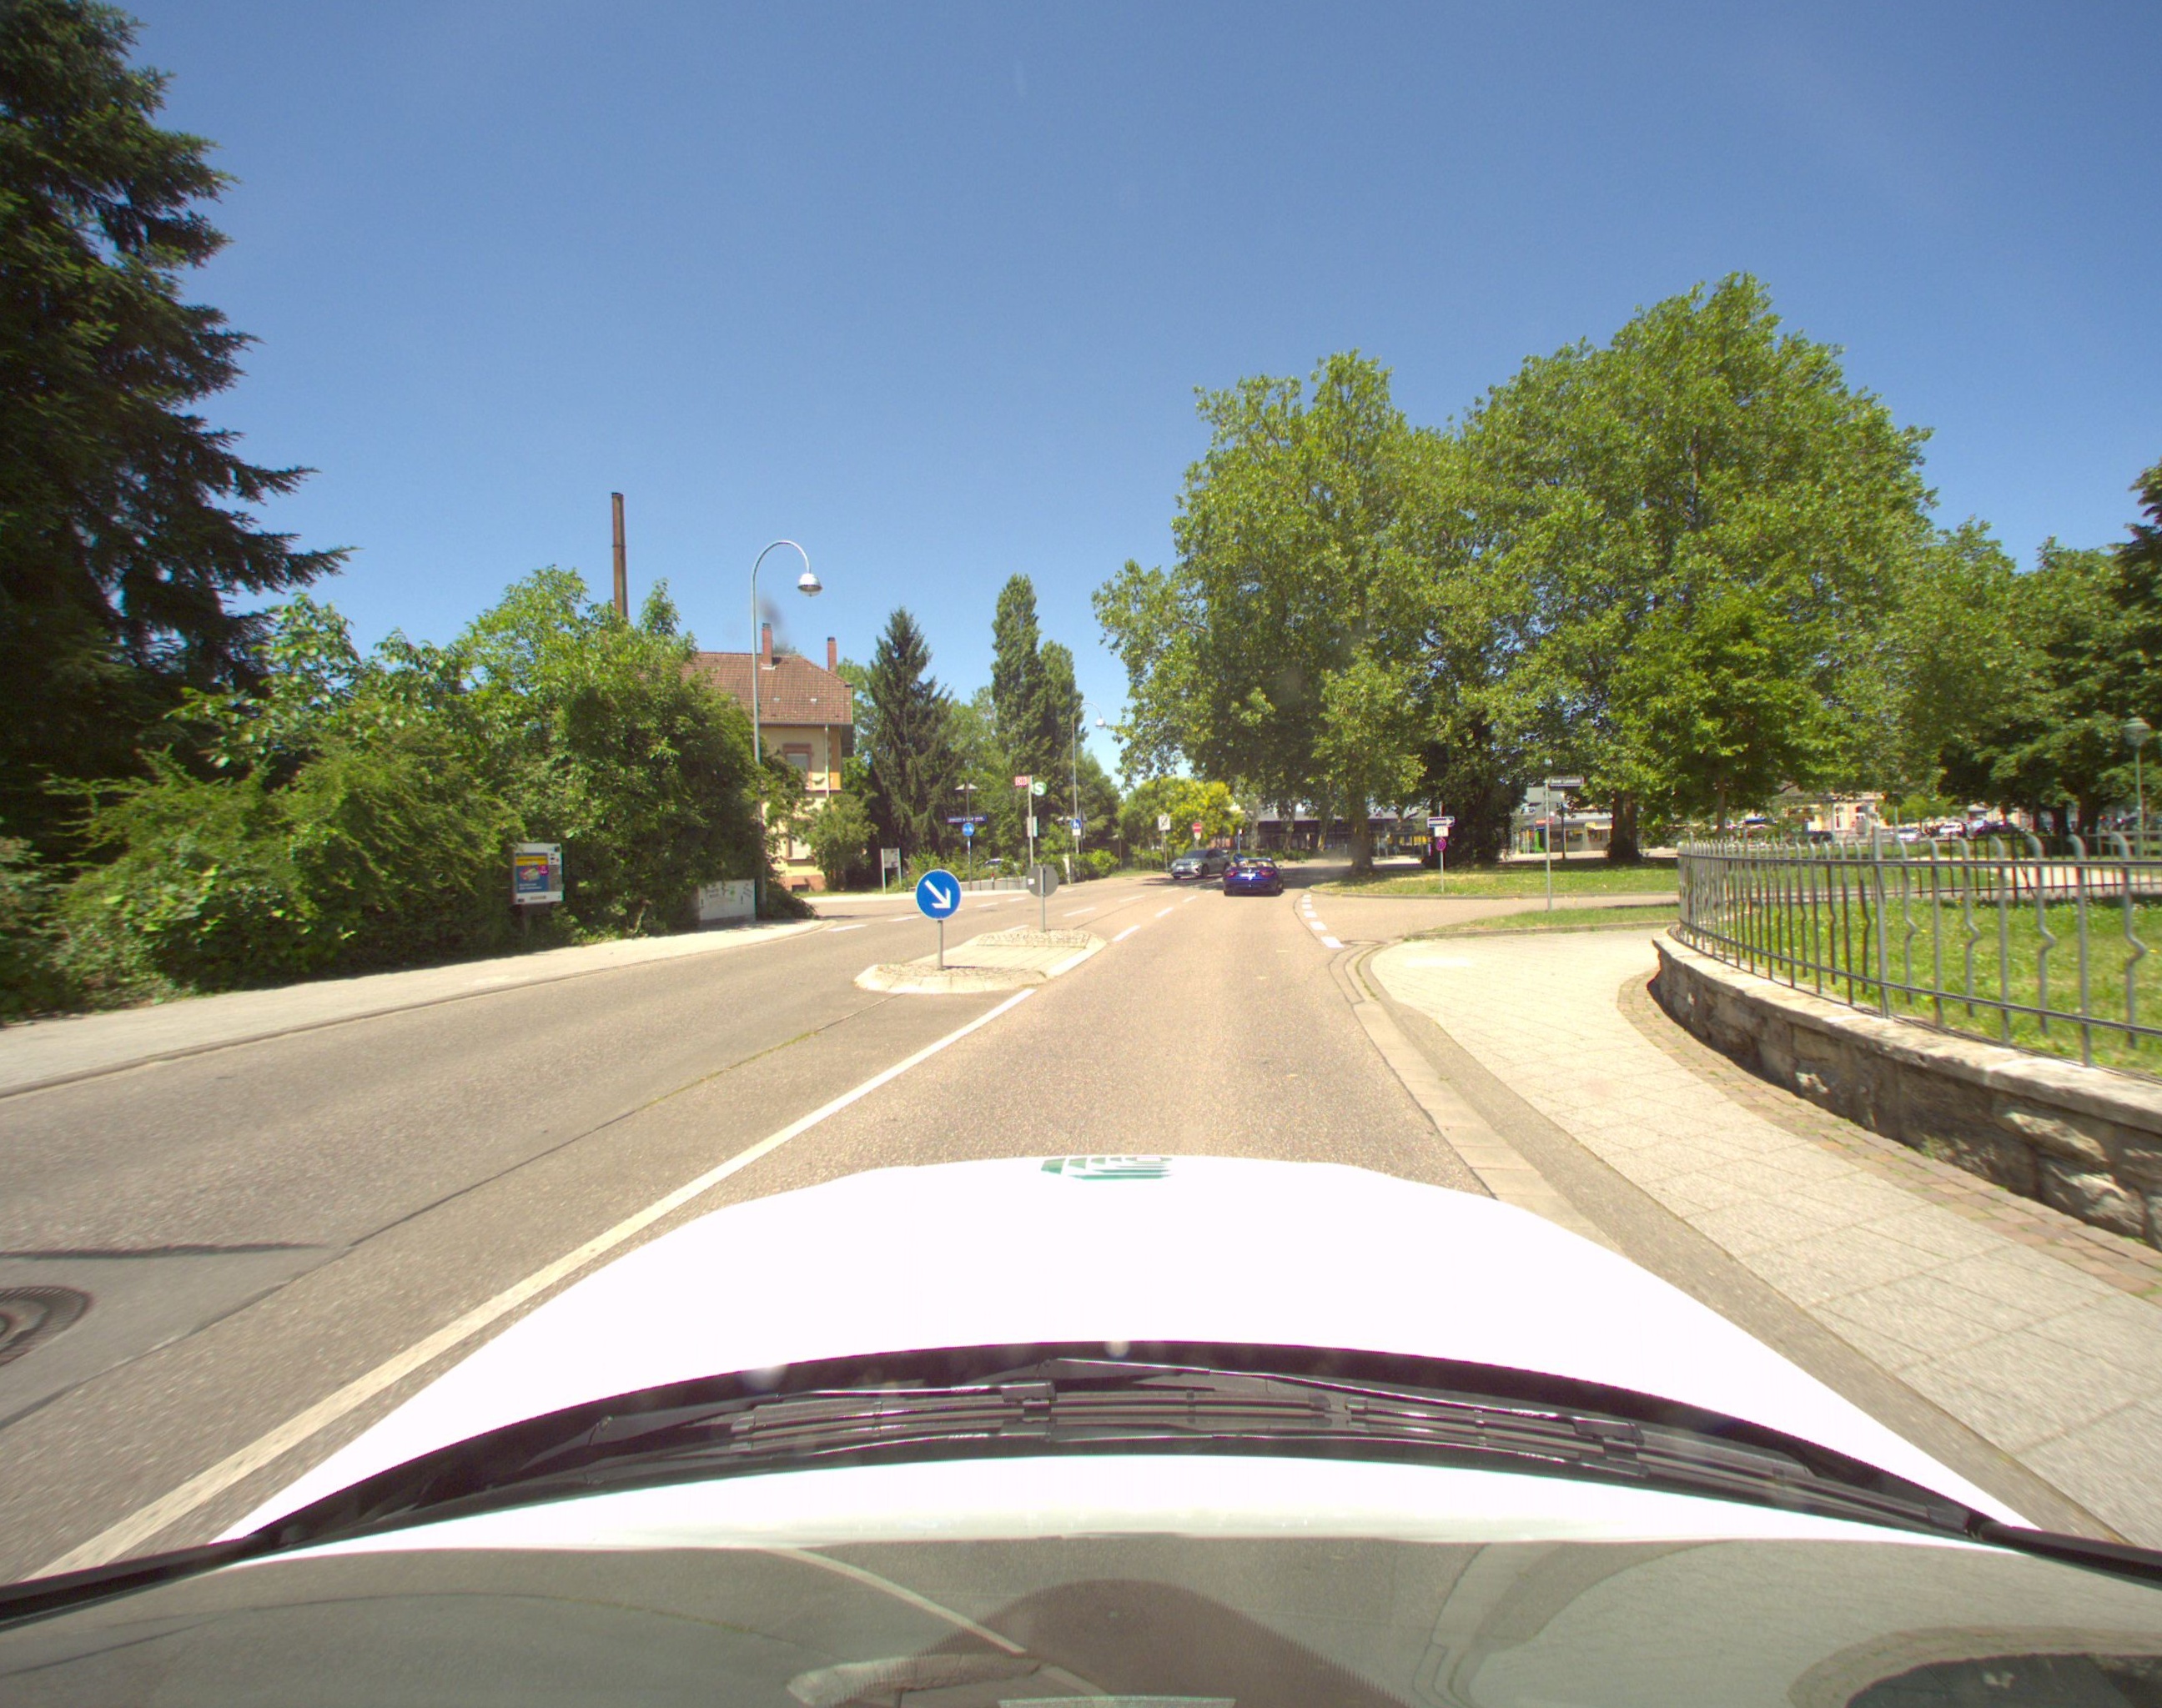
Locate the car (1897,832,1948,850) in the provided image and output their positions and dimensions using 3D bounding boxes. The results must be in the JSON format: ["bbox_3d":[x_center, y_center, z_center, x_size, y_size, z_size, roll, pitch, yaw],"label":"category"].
[{"bbox_3d":[85.137,-1.325,82.411,4.153,1.444,1.810,-3,-3,-16],"label":"car"}]

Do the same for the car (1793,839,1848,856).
[{"bbox_3d":[70.525,-0.603,77.682,4.783,1.478,1.714,-2,-1,-18],"label":"car"}]

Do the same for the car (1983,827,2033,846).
[{"bbox_3d":[75.592,-1.427,66.433,3.712,1.478,1.710,-2,-1,-26],"label":"car"}]

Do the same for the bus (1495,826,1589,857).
[{"bbox_3d":[56.807,-1.545,100.243,12.211,3.526,2.157,-2,0,-17],"label":"bus"}]

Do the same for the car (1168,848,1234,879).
[{"bbox_3d":[6.642,0.498,44.703,1.826,1.530,4.367,-1,0,34],"label":"car"}]
